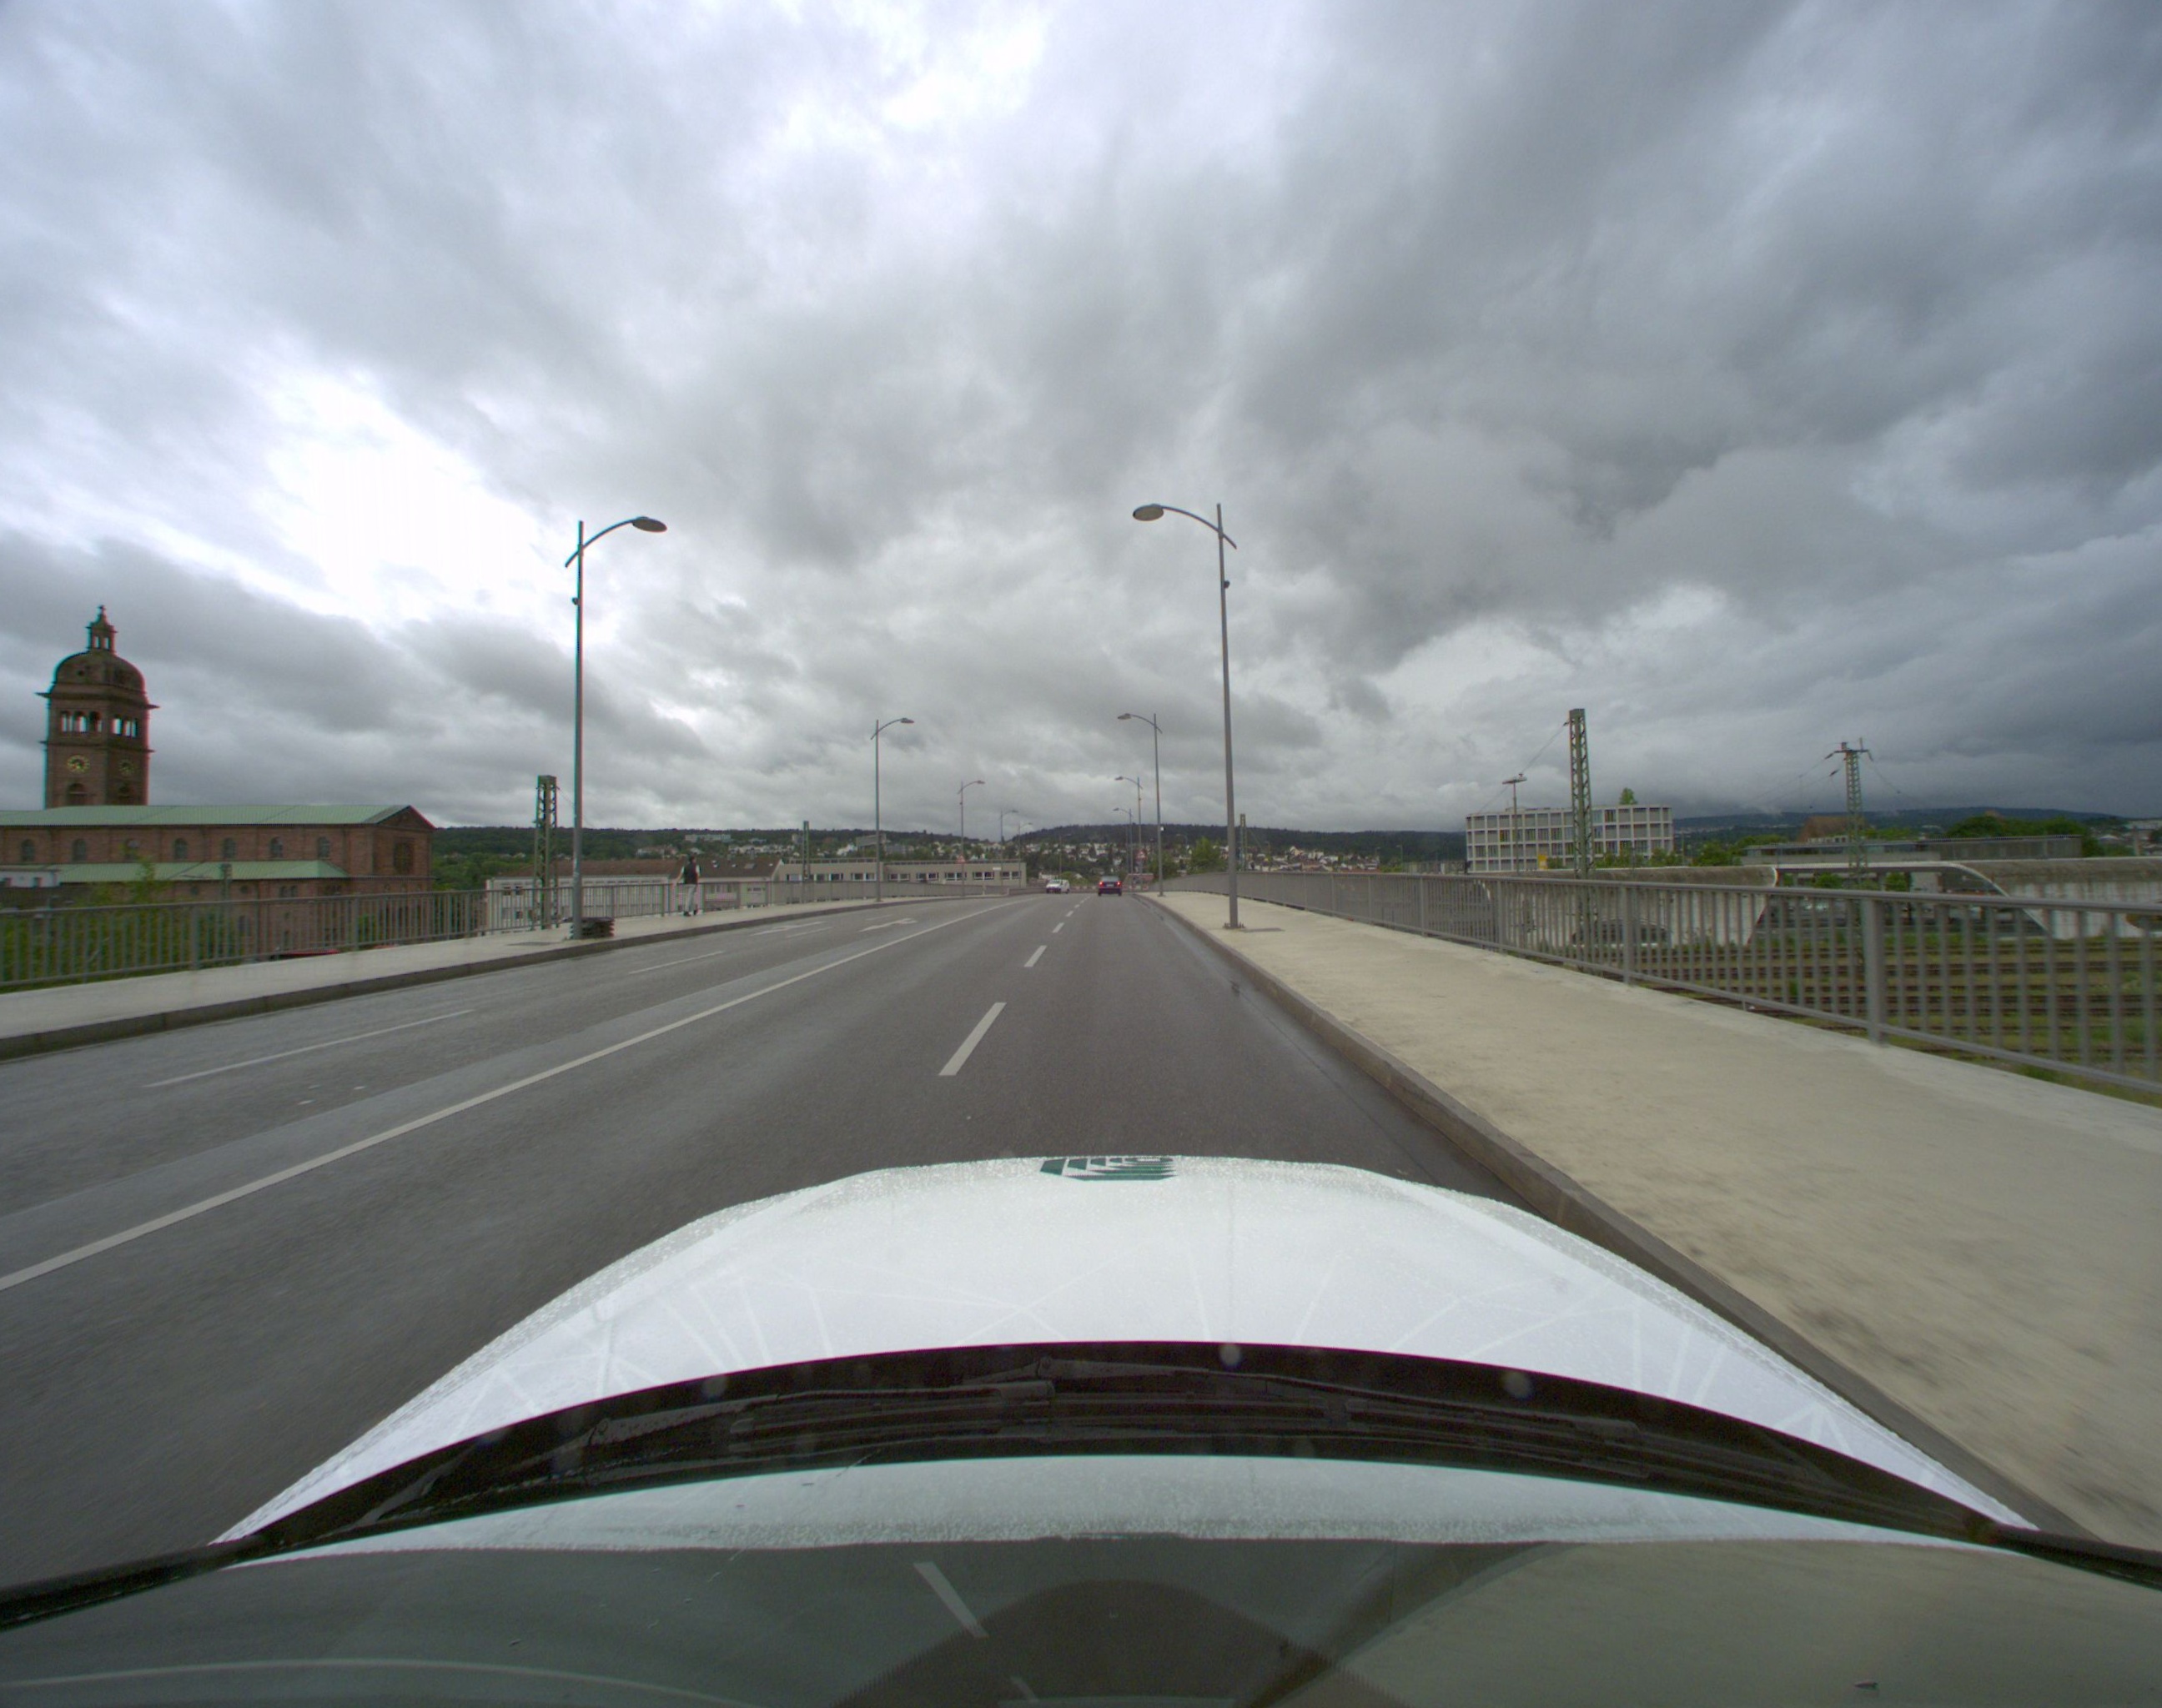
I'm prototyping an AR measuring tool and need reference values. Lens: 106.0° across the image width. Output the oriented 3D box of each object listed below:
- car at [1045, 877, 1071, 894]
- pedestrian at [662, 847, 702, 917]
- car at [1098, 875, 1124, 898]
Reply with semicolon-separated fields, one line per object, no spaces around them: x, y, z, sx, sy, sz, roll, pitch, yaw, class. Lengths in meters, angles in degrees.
-3.179;4.334;112.211;1.935;2.099;4.113;-5;-6;23;car
-12.022;0.830;24.574;0.753;2.048;0.892;-1;-1;1;pedestrian
2.099;2.263;57.798;1.747;1.479;4.001;-1;-1;2;car
